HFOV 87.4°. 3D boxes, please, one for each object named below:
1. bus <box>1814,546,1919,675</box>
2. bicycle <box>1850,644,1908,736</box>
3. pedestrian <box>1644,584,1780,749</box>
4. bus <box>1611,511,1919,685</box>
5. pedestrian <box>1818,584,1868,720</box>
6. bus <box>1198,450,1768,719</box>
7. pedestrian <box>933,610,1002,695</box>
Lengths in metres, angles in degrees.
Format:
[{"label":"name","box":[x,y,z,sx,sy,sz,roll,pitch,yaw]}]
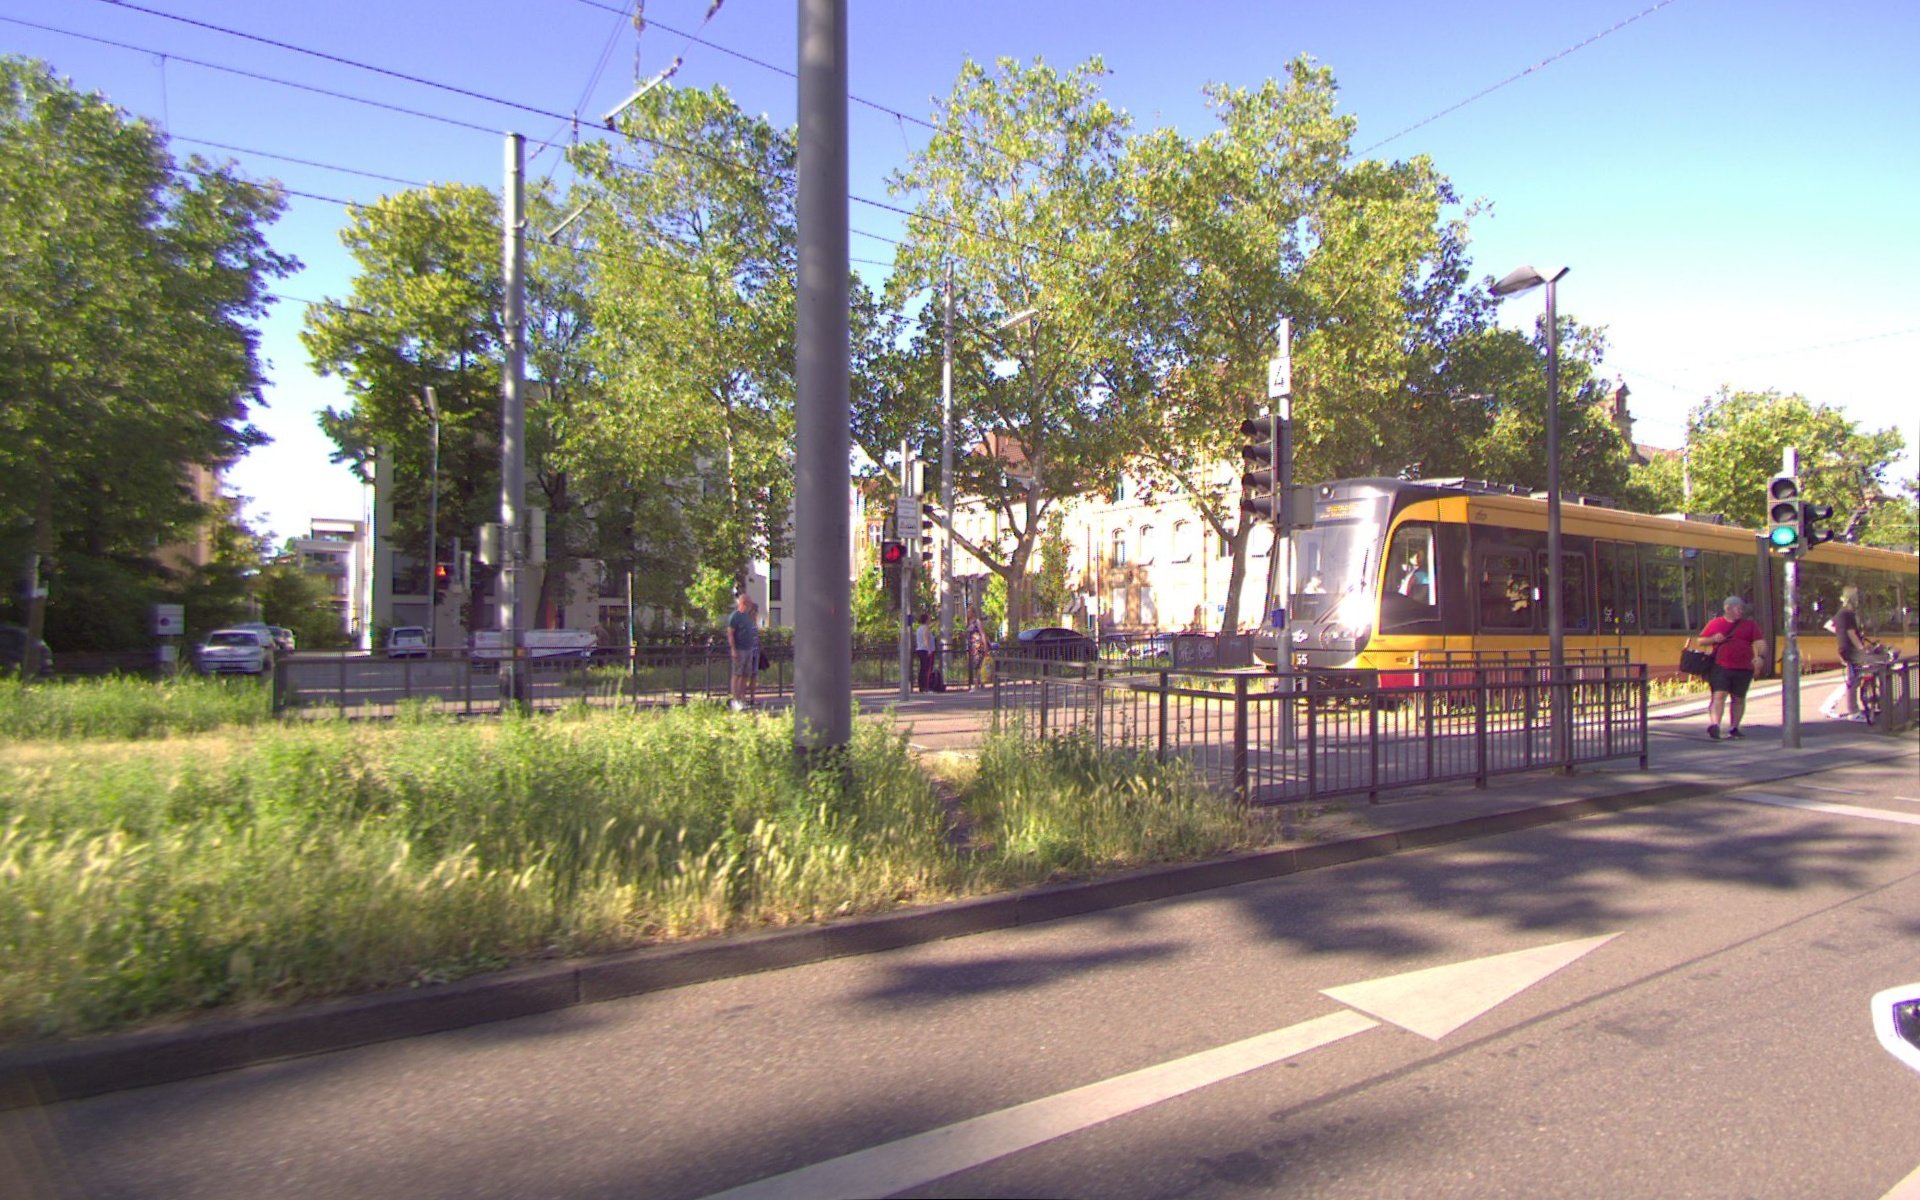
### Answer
[{"label":"bus","box":[30.281,0.420,30.925,11.484,3.489,2.853,1,-2,-33]},{"label":"bicycle","box":[13.042,1.240,14.246,1.813,1.230,0.325,2,-2,-39]},{"label":"pedestrian","box":[9.435,0.806,12.614,1.115,1.941,1.065,1,-2,-34]},{"label":"bus","box":[20.405,0.116,24.540,12.081,3.489,2.853,1,-2,-33]},{"label":"pedestrian","box":[12.831,0.742,14.604,0.580,1.928,0.447,1,-2,-40]},{"label":"bus","box":[9.891,-0.035,17.755,13.072,3.489,2.853,1,-2,-33]},{"label":"pedestrian","box":[0.146,1.042,20.399,0.885,1.665,1.167,0,-1,-39]}]
